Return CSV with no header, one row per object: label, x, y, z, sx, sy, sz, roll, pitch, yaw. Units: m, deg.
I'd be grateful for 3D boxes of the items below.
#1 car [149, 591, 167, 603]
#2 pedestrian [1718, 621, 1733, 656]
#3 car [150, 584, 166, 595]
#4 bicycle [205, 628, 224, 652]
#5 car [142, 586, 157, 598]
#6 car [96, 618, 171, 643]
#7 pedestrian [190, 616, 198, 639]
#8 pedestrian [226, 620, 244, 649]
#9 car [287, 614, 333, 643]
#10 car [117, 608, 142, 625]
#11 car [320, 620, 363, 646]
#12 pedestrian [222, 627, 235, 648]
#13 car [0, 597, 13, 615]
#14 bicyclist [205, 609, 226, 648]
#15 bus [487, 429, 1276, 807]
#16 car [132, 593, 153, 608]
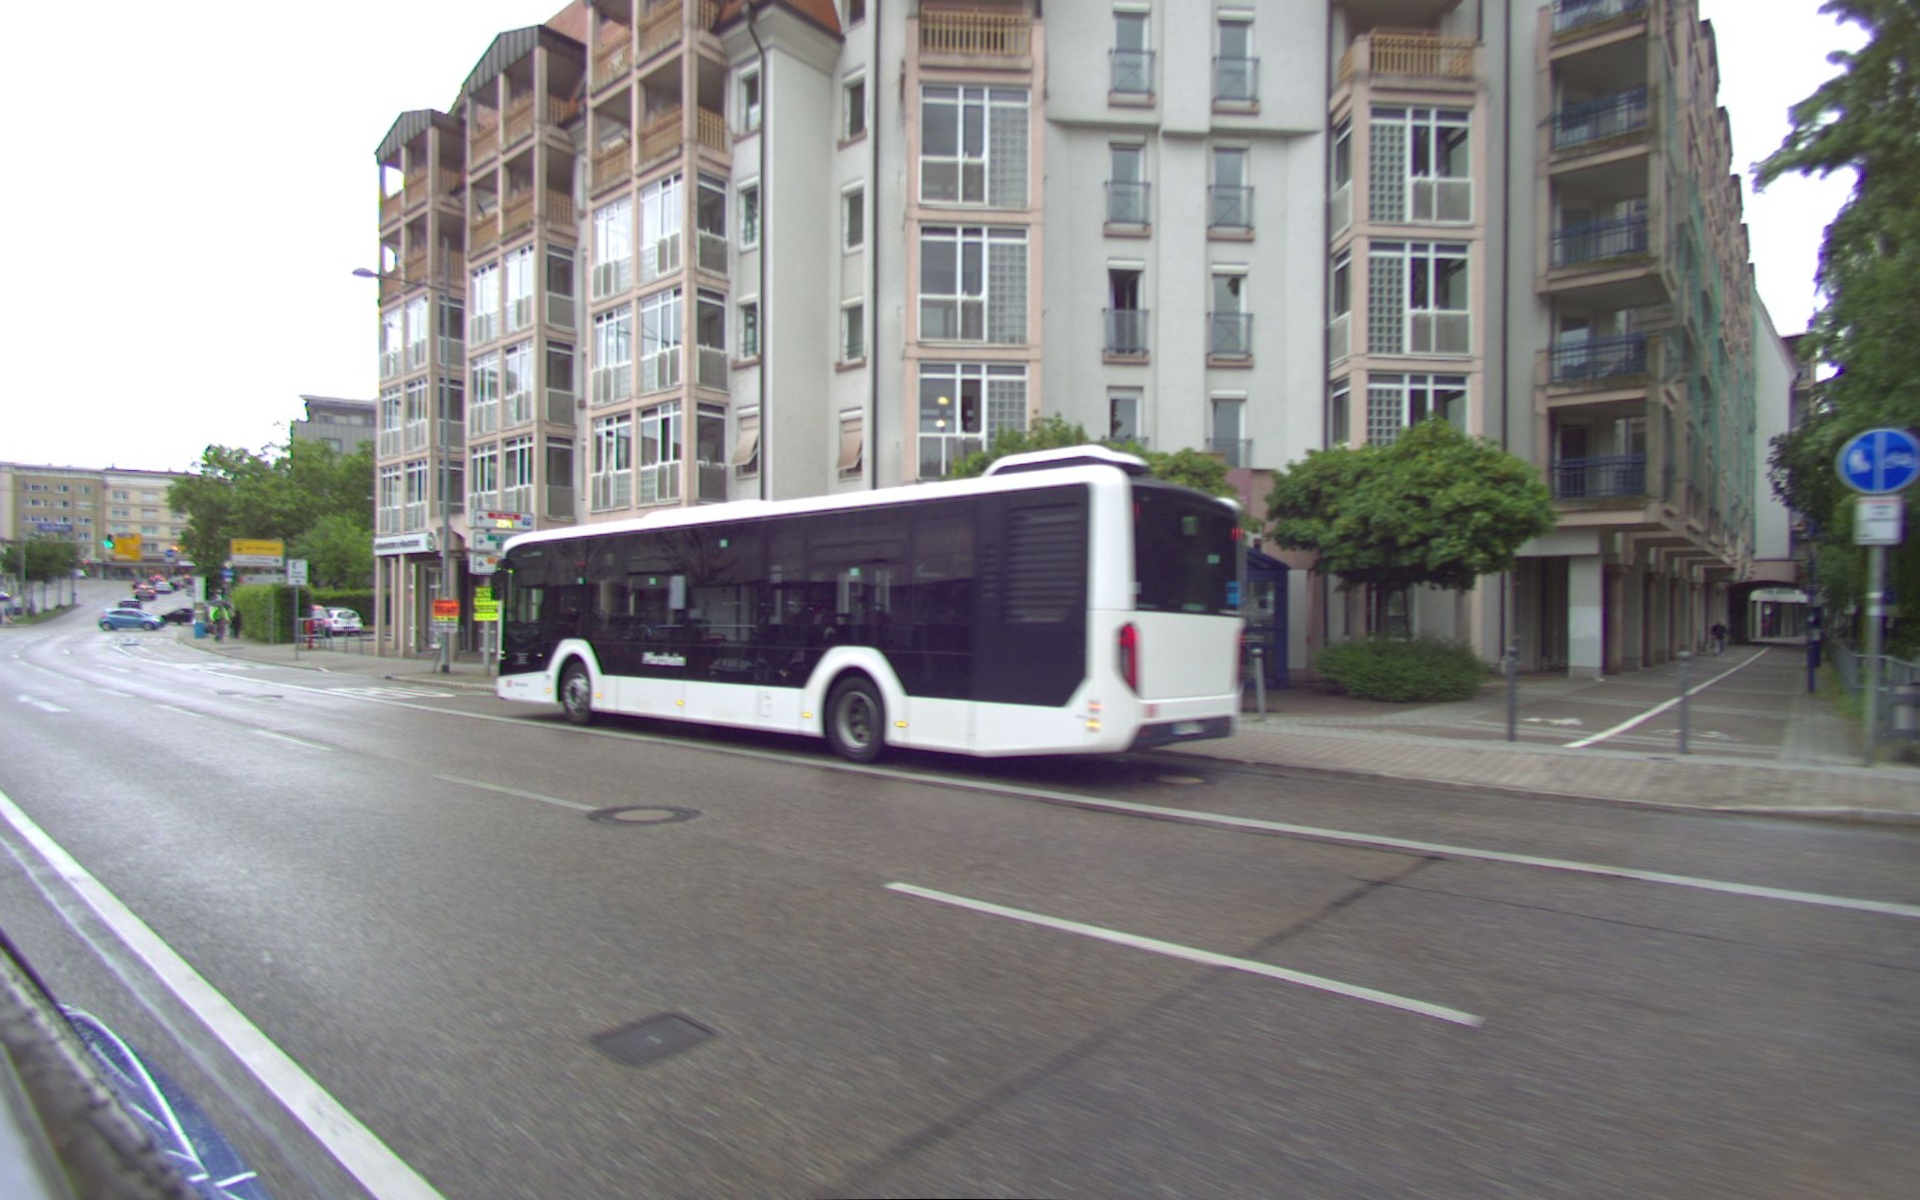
car,-106.211,-0.375,134.044,1.650,1.527,3.651,2,-1,-37
pedestrian,34.474,1.721,45.574,0.509,1.573,0.379,-2,-2,38
car,-120.717,-1.577,152.331,1.691,1.490,3.966,3,-1,-37
bicycle,-37.255,1.998,50.576,0.642,1.118,2.062,0,-1,-39
car,-111.689,-1.047,139.498,1.602,1.567,3.667,1,-1,-38
car,-56.195,2.084,68.870,3.626,1.485,1.706,-2,-2,-23
pedestrian,-61.947,2.227,81.808,0.441,1.851,0.677,0,2,-41
pedestrian,-39.654,1.856,55.319,0.565,1.571,0.706,-1,-2,44
car,-36.054,1.580,56.121,1.575,1.550,3.604,0,-1,-42
car,-79.829,1.570,97.296,1.735,1.431,4.105,3,-1,-38
car,-37.626,1.986,61.528,1.575,1.550,3.604,0,-1,-42
pedestrian,-40.223,2.076,55.650,0.502,1.159,0.463,-1,-2,45
car,-106.451,0.622,111.978,1.803,1.749,4.010,2,2,-35
bicyclist,-37.138,1.400,50.477,0.781,1.904,0.955,1,-1,-41
bus,-2.253,0.350,13.404,12.232,3.099,2.715,-3,-2,42
car,-96.759,0.030,119.791,1.803,1.749,4.320,1,0,-38
